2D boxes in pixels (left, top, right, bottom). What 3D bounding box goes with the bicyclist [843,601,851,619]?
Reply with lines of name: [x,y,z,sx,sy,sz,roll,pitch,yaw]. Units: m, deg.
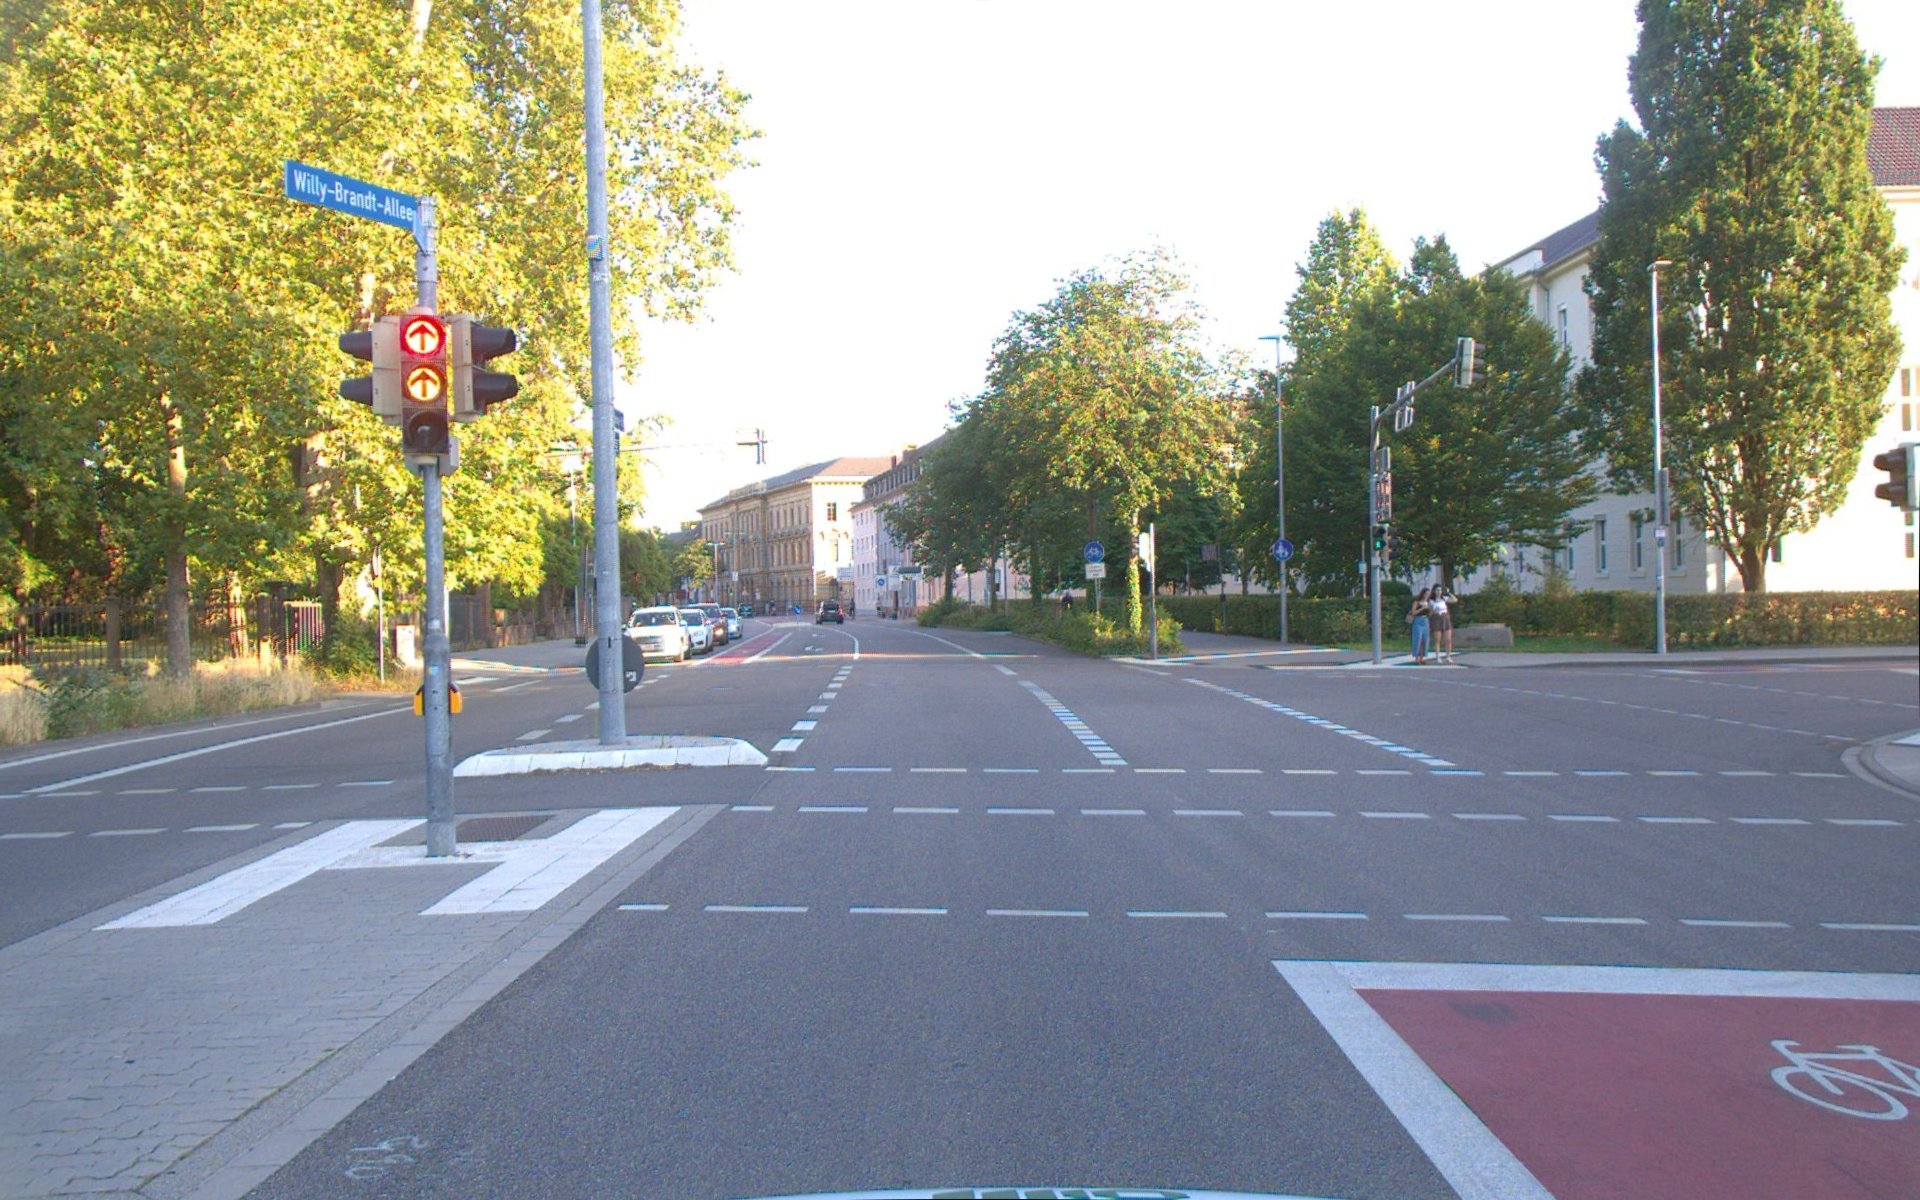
bicyclist: [-9.230,0.798,134.937,0.639,1.471,0.878,1,0,-6]

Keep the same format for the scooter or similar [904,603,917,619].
scooter or similar: [-4.366,0.999,145.264,0.619,1.360,2.391,-1,0,-14]

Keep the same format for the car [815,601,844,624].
car: [-8.945,0.869,113.769,1.830,1.536,3.998,-1,0,-3]

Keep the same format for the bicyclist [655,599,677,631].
bicyclist: [-13.945,0.710,78.463,0.838,1.456,0.943,-1,0,-1]

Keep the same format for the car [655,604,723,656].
car: [-9.346,1.000,57.300,1.879,1.611,4.669,-3,0,-5]

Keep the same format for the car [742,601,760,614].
car: [-24.738,0.881,195.637,1.882,1.442,4.758,-3,0,-11]

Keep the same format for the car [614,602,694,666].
car: [-9.222,0.983,50.165,1.879,1.725,4.422,-3,0,-5]

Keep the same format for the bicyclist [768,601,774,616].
bicyclist: [-22.310,0.973,195.610,0.640,1.727,0.955,1,-1,-10]

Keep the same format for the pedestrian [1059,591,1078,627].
pedestrian: [5.449,0.438,83.356,0.756,1.769,0.805,-1,0,-10]

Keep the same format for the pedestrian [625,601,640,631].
pedestrian: [-18.537,0.904,93.548,0.667,1.650,0.688,-1,0,-1]

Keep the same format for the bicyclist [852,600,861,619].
bicyclist: [-8.509,0.767,135.516,0.639,1.501,0.939,1,0,-7]

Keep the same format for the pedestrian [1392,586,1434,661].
pedestrian: [10.147,0.516,37.048,0.667,1.650,0.845,-1,0,-1]

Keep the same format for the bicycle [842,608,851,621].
bicycle: [-9.224,1.179,134.774,0.639,1.033,2.195,1,0,-6]

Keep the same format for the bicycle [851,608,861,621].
bicycle: [-8.508,1.204,135.510,0.639,1.033,2.194,1,0,-7]

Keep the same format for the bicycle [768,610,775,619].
bicycle: [-22.333,1.678,195.676,0.640,1.033,2.192,1,0,-10]

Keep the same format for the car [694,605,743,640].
car: [-11.094,1.000,76.172,1.879,1.442,4.765,-3,0,-5]

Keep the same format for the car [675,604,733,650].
car: [-10.197,1.036,66.185,1.879,1.653,4.634,-3,0,-5]

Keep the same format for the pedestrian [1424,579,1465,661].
pedestrian: [10.852,0.439,37.034,0.667,1.784,0.688,-1,0,-1]
